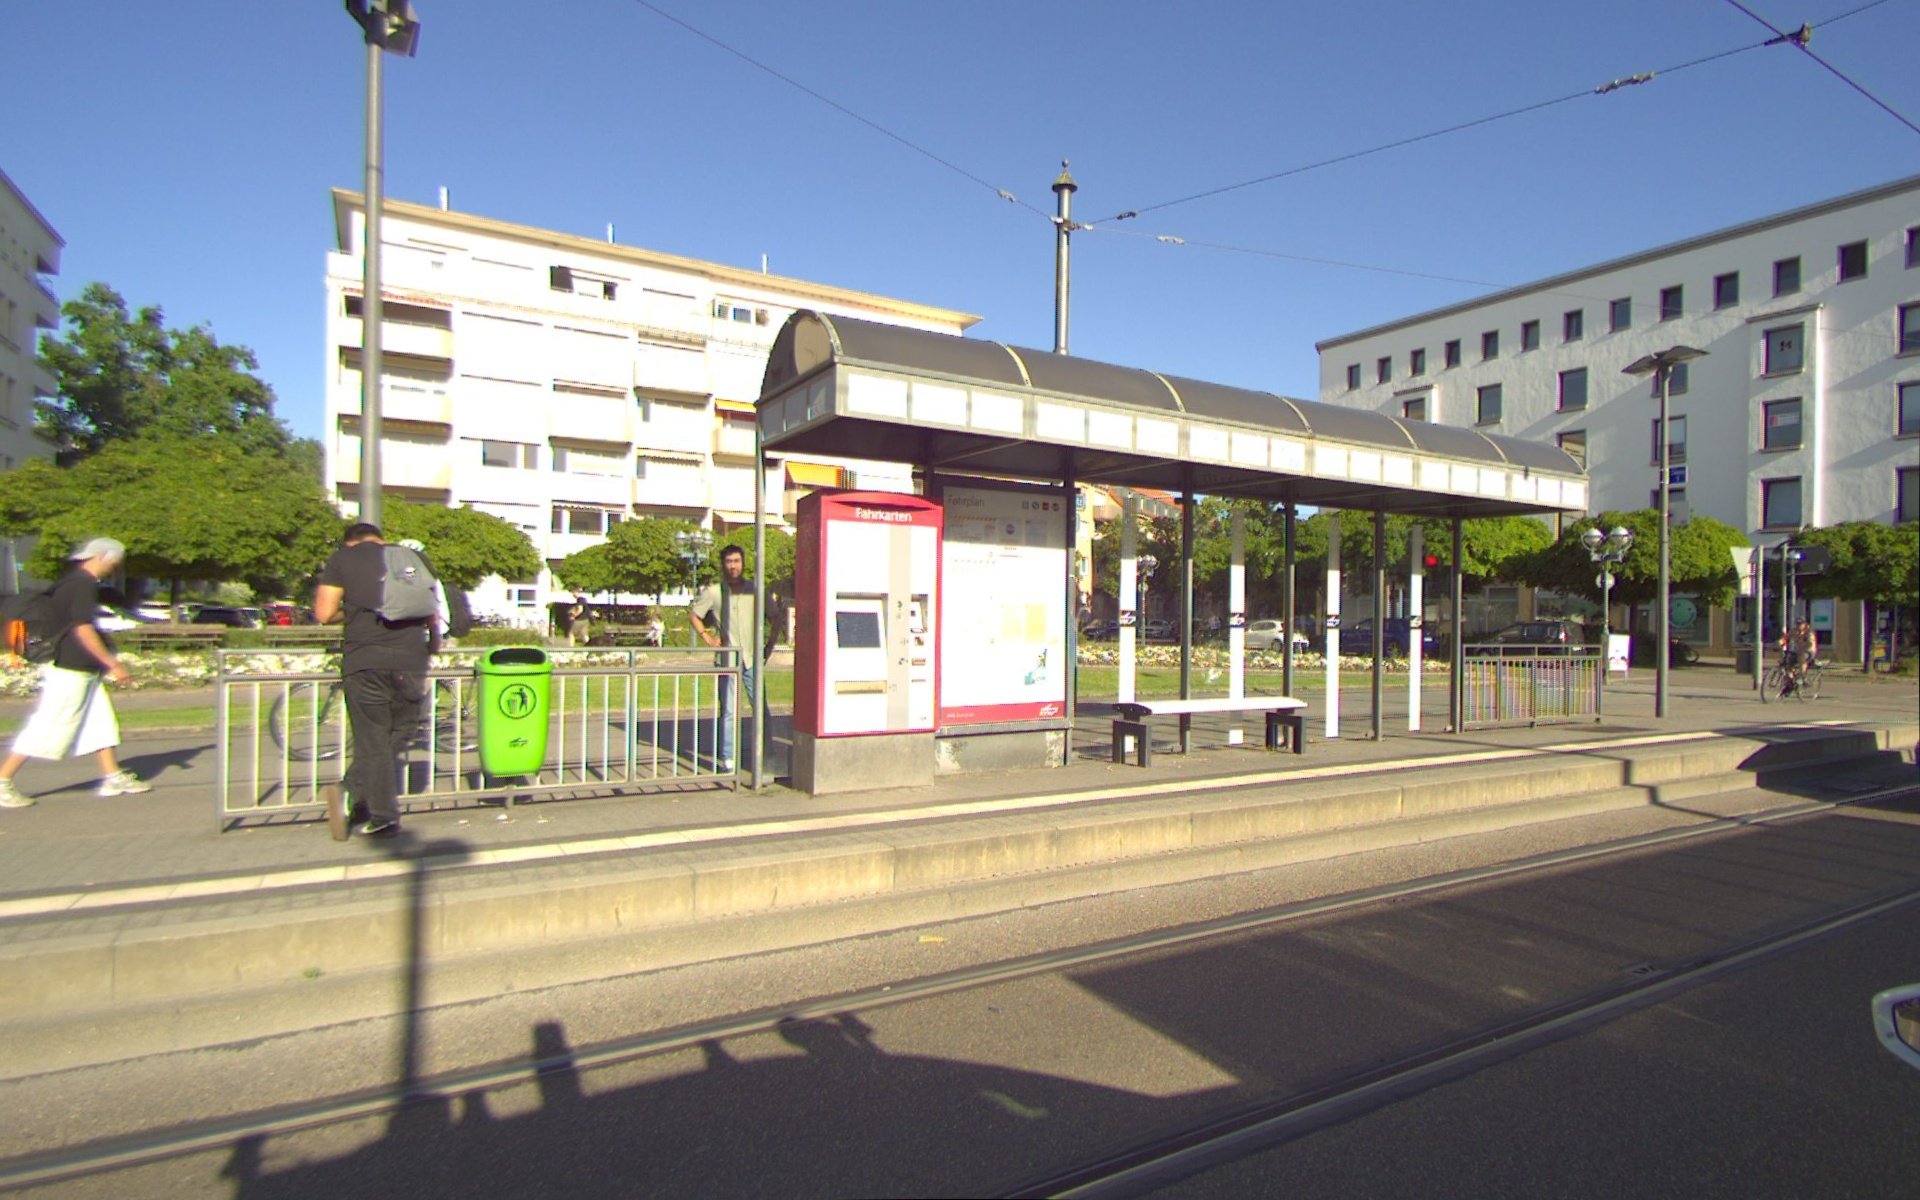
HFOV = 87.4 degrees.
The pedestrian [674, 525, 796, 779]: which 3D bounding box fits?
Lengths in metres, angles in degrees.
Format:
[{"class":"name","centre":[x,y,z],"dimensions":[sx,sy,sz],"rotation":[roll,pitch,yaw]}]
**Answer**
[{"class":"pedestrian","centre":[-1.699,0.384,7.562],"dimensions":[0.760,1.797,0.613],"rotation":[1,-3,-28]}]

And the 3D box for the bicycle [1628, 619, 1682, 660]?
[{"class":"bicycle","centre":[28.123,1.599,40.647],"dimensions":[2.585,1.628,0.616],"rotation":[1,-1,-26]}]

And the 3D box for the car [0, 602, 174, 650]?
[{"class":"car","centre":[-25.344,0.758,29.168],"dimensions":[3.672,1.318,1.984],"rotation":[1,-1,-30]}]

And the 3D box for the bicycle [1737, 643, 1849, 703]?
[{"class":"bicycle","centre":[16.529,1.440,19.934],"dimensions":[1.944,1.128,0.728],"rotation":[1,0,-16]}]

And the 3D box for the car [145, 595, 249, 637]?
[{"class":"car","centre":[-28.414,0.611,37.481],"dimensions":[2.899,1.506,1.407],"rotation":[1,-1,-30]}]

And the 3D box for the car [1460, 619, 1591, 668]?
[{"class":"car","centre":[21.305,1.601,37.984],"dimensions":[1.804,1.728,3.968],"rotation":[1,-1,-30]}]

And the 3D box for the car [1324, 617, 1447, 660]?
[{"class":"car","centre":[18.104,1.599,42.974],"dimensions":[1.978,1.684,4.581],"rotation":[1,-1,-31]}]

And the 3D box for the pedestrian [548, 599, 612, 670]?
[{"class":"pedestrian","centre":[-9.961,0.893,26.352],"dimensions":[1.153,1.811,1.082],"rotation":[1,0,8]}]

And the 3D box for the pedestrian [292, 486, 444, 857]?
[{"class":"pedestrian","centre":[-2.979,0.348,5.111],"dimensions":[0.599,1.740,0.546],"rotation":[1,-3,-28]}]

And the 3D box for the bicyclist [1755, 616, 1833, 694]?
[{"class":"bicyclist","centre":[16.547,1.084,19.936],"dimensions":[0.863,1.475,0.827],"rotation":[2,0,-16]}]

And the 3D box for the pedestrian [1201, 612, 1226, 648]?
[{"class":"pedestrian","centre":[13.232,1.552,52.445],"dimensions":[0.856,1.841,0.944],"rotation":[1,-1,-19]}]

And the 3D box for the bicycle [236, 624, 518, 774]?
[{"class":"bicycle","centre":[-4.976,0.790,8.658],"dimensions":[2.018,1.141,0.706],"rotation":[1,-1,-39]}]

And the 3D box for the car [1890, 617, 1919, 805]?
[{"class":"car","centre":[9.722,0.938,8.520],"dimensions":[3.954,1.507,1.658],"rotation":[1,0,-31]}]

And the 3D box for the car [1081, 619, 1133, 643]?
[{"class":"car","centre":[9.849,2.037,67.230],"dimensions":[1.887,1.514,4.343],"rotation":[1,0,31]}]

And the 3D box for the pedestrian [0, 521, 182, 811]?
[{"class":"pedestrian","centre":[-5.705,0.401,6.438],"dimensions":[0.963,1.702,0.989],"rotation":[1,-2,-30]}]

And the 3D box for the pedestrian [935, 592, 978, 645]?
[{"class":"pedestrian","centre":[-0.153,0.729,39.492],"dimensions":[1.219,2.040,1.214],"rotation":[1,-1,-30]}]

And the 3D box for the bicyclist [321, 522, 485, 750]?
[{"class":"bicyclist","centre":[-4.839,0.296,8.719],"dimensions":[1.086,1.817,0.996],"rotation":[1,-1,-38]}]

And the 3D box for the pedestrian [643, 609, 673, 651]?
[{"class":"pedestrian","centre":[-10.172,1.002,33.777],"dimensions":[0.672,1.378,1.042],"rotation":[1,-1,-34]}]

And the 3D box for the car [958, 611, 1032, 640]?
[{"class":"car","centre":[1.740,1.262,49.668],"dimensions":[3.271,1.372,1.638],"rotation":[1,-1,-29]}]

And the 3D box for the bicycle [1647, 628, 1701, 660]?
[{"class":"bicycle","centre":[28.448,1.752,40.002],"dimensions":[2.586,1.206,0.615],"rotation":[1,-1,-27]}]

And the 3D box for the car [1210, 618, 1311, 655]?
[{"class":"car","centre":[14.311,1.702,48.047],"dimensions":[1.835,1.628,4.581],"rotation":[1,-1,-31]}]

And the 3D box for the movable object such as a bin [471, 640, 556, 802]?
[{"class":"movable object such as a bin","centre":[-2.539,0.666,5.710],"dimensions":[0.411,0.871,0.335],"rotation":[1,-1,-27]}]
